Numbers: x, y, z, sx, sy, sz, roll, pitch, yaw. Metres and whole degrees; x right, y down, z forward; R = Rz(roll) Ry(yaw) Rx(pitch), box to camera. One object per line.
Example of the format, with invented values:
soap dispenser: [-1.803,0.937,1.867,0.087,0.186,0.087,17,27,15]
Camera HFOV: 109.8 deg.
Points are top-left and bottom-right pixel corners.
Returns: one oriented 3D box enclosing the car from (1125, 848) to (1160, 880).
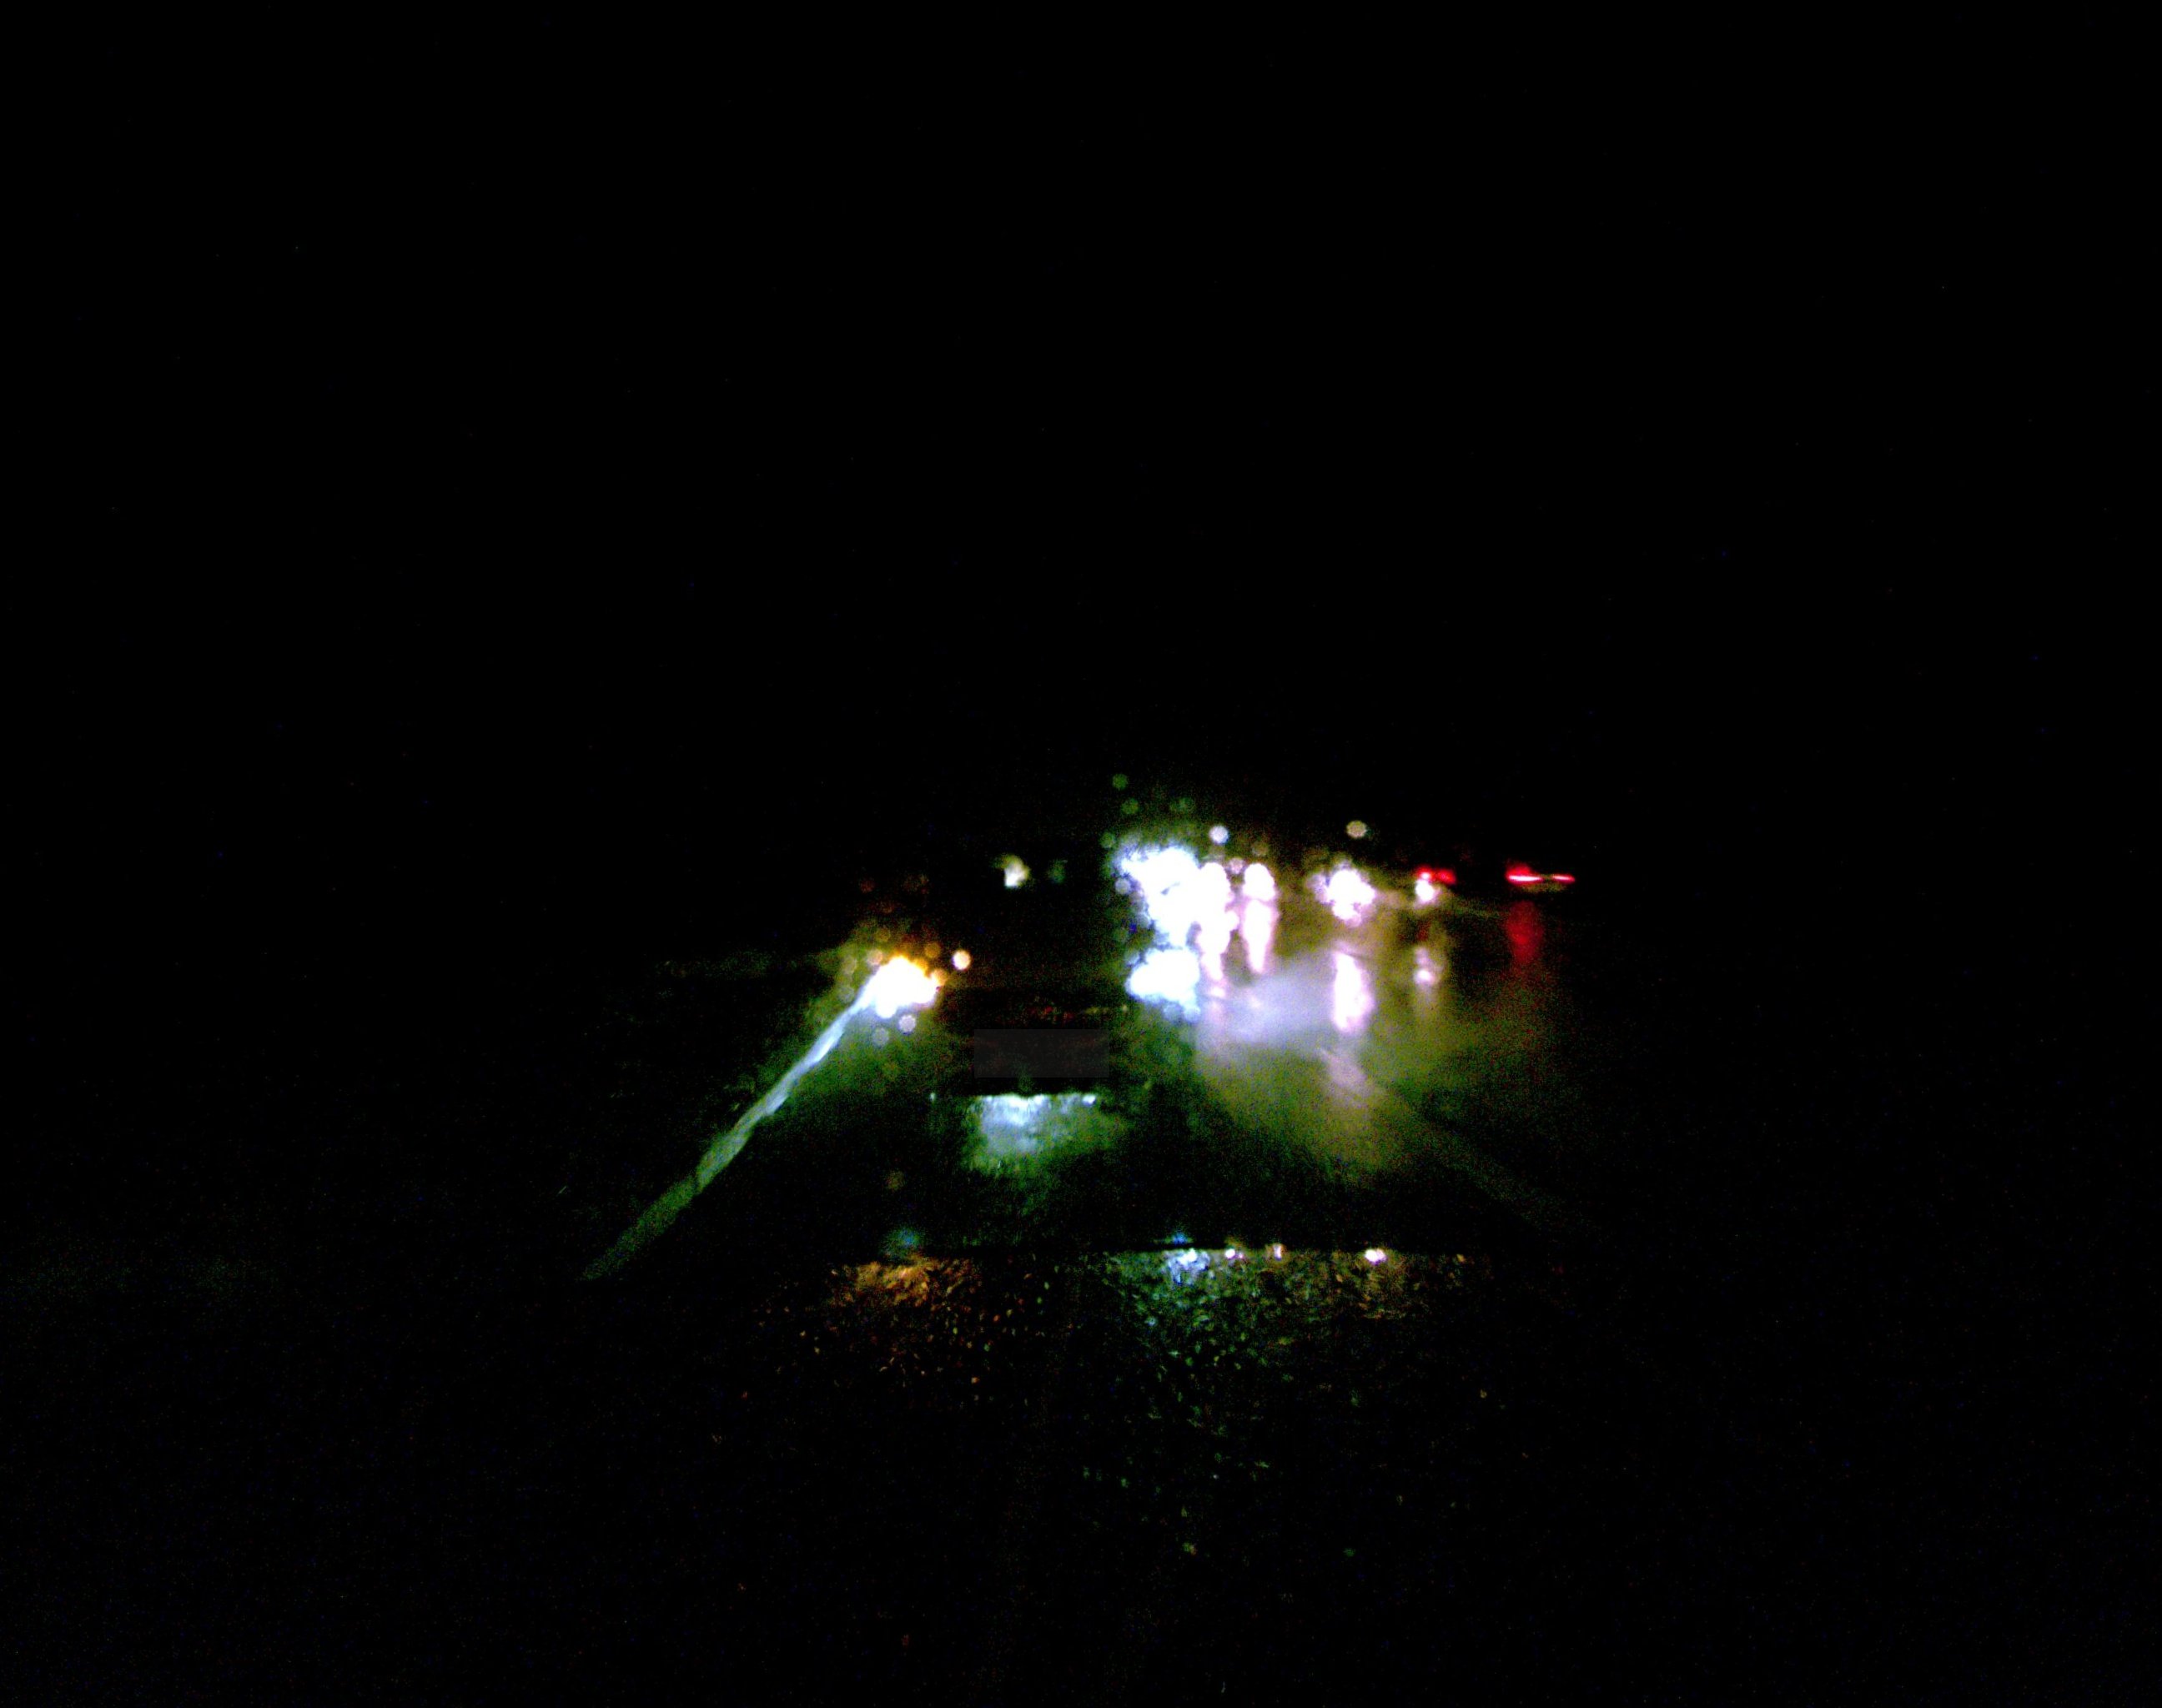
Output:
car: [3.768,0.554,47.001,1.746,1.791,4.080,-2,1,-1]

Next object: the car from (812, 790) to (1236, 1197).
car: [-0.396,0.626,5.888,2.004,1.914,4.366,-2,1,-4]

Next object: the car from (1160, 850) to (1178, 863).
car: [12.857,0.300,110.911,1.858,1.728,4.636,-2,1,-3]

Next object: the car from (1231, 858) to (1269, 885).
car: [12.884,1.319,58.169,1.998,1.824,4.206,-2,1,1]

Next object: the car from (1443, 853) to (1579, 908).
car: [14.844,0.841,26.563,1.907,1.710,4.457,0,1,-6]

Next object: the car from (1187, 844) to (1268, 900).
car: [4.854,0.529,25.809,1.788,1.586,4.234,1,3,-2]

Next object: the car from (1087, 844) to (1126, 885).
car: [1.241,0.476,38.087,1.781,1.820,4.557,-2,1,1]

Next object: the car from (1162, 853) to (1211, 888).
car: [4.886,0.715,35.561,1.680,1.437,4.174,-2,1,0]

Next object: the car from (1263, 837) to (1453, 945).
car: [5.364,0.591,15.508,1.999,1.783,4.719,-2,2,-2]

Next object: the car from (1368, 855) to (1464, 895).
car: [16.311,0.973,37.268,2.036,1.781,4.782,-1,0,-9]
